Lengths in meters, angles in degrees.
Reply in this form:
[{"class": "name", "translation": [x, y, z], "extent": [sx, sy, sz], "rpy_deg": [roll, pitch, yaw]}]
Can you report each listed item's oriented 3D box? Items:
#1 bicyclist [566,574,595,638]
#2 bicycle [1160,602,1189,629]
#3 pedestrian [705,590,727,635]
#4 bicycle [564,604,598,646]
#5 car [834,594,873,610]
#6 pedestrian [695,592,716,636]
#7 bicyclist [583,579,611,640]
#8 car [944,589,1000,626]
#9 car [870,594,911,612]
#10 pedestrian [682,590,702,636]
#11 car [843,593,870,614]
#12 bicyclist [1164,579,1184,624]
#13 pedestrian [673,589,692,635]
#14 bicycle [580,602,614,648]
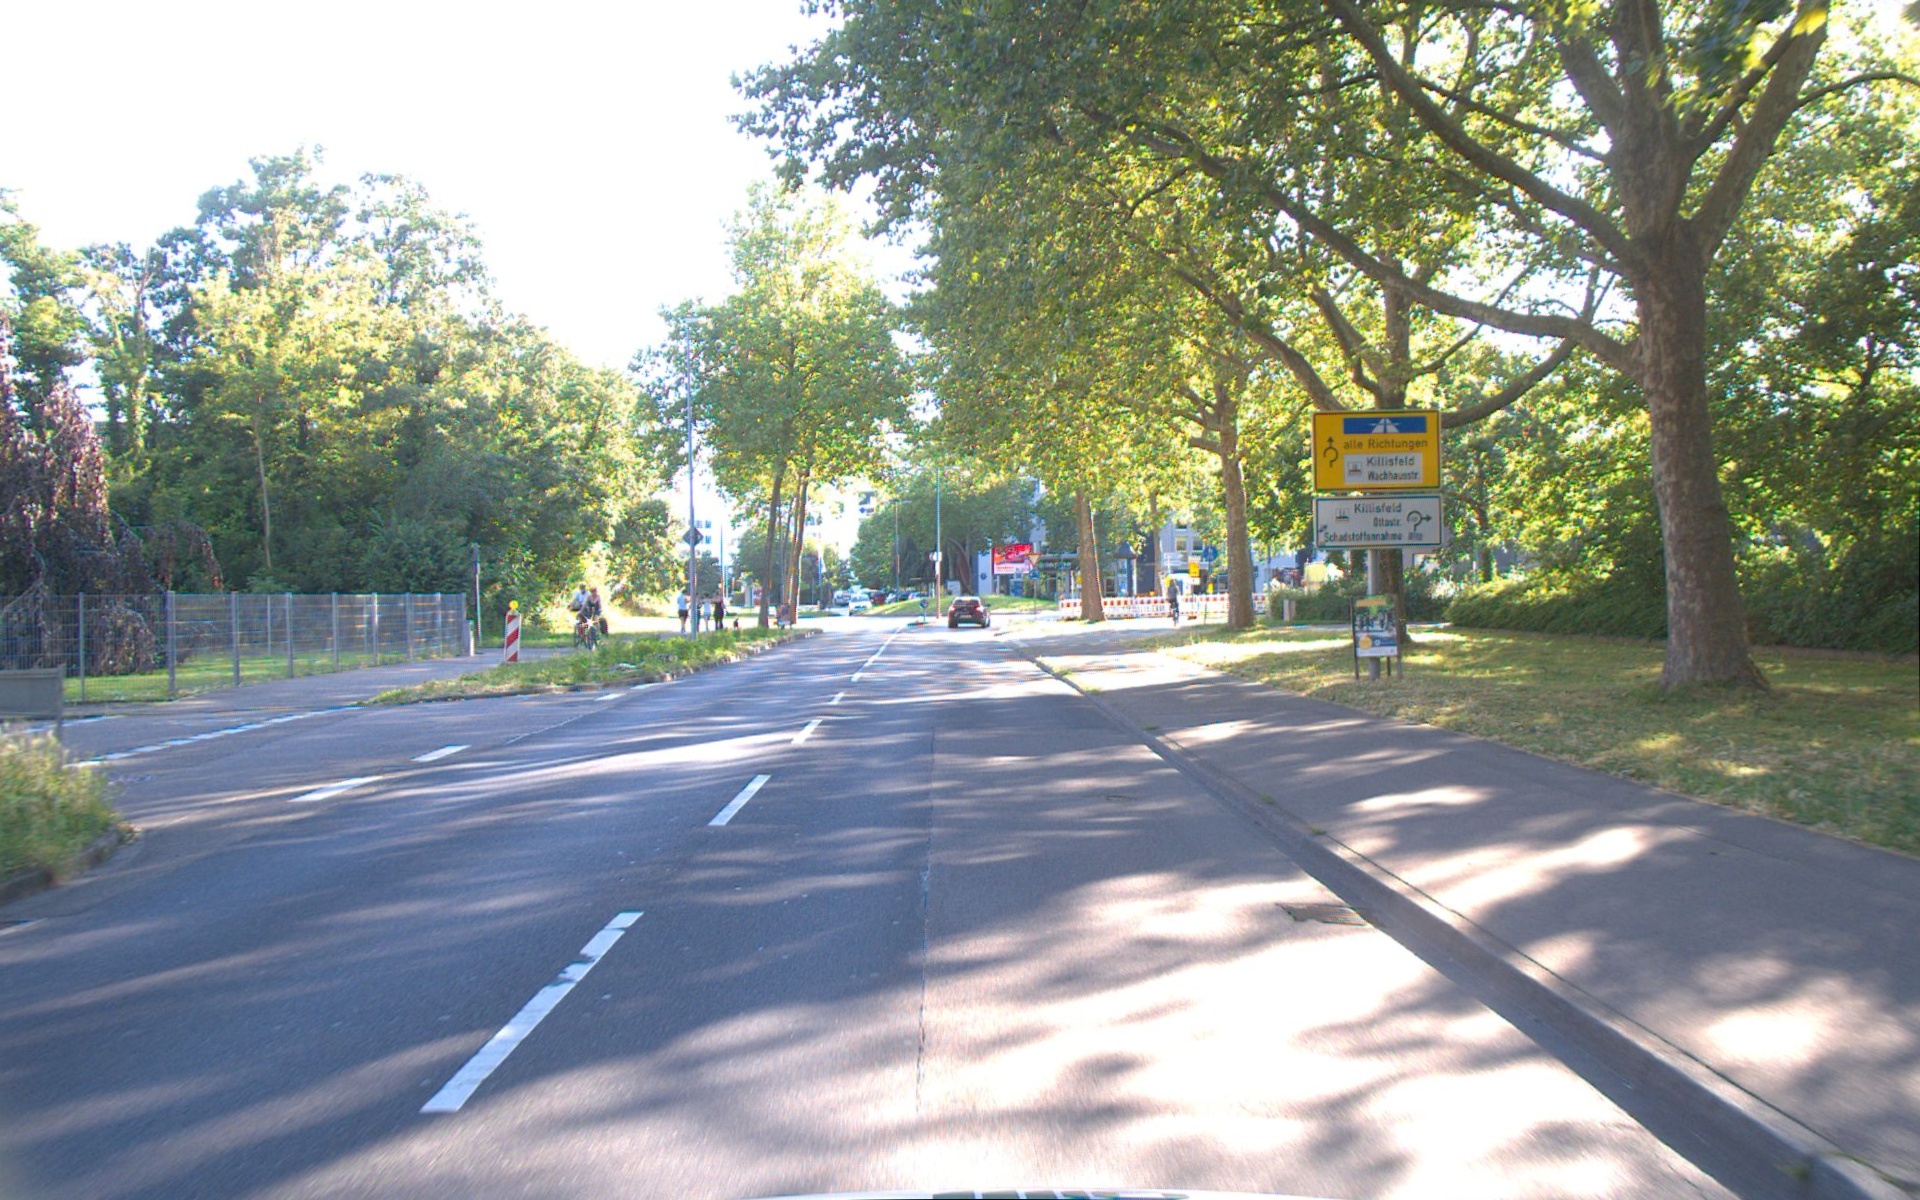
[{"class": "bicyclist", "translation": [-11.332, 0.186, 49.404], "extent": [0.567, 1.863, 0.968], "rpy_deg": [-3, 0, -2]}, {"class": "bicycle", "translation": [8.259, 0.608, 63.692], "extent": [0.754, 0.981, 2.174], "rpy_deg": [-2, -1, -1]}, {"class": "pedestrian", "translation": [-9.618, 0.498, 65.187], "extent": [0.733, 1.769, 0.852], "rpy_deg": [-1, 0, 1]}, {"class": "bicycle", "translation": [-11.306, 0.736, 49.395], "extent": [0.567, 1.207, 2.031], "rpy_deg": [-3, 0, -2]}, {"class": "car", "translation": [-11.840, 0.226, 184.324], "extent": [3.946, 1.777, 1.777], "rpy_deg": [1, 0, -31]}, {"class": "pedestrian", "translation": [-9.814, 0.532, 63.775], "extent": [0.628, 1.666, 0.569], "rpy_deg": [0, 0, -38]}, {"class": "bicyclist", "translation": [-10.428, 0.268, 47.562], "extent": [0.567, 1.709, 0.970], "rpy_deg": [-1, 0, -2]}, {"class": "car", "translation": [0.583, 0.333, 77.327], "extent": [1.800, 1.633, 3.866], "rpy_deg": [-1, 0, 13]}, {"class": "car", "translation": [-7.341, 0.330, 174.080], "extent": [3.946, 1.777, 1.777], "rpy_deg": [1, 0, -31]}, {"class": "pedestrian", "translation": [-10.554, 0.513, 65.081], "extent": [0.651, 1.769, 0.751], "rpy_deg": [-1, 0, 1]}, {"class": "car", "translation": [-8.188, 0.303, 130.109], "extent": [1.955, 1.606, 3.995], "rpy_deg": [-1, 0, -6]}, {"class": "bicyclist", "translation": [8.257, 0.048, 63.961], "extent": [0.637, 1.735, 0.871], "rpy_deg": [1, 0, 0]}, {"class": "pedestrian", "translation": [-10.716, 0.464, 63.903], "extent": [0.619, 1.769, 0.664], "rpy_deg": [-1, 0, 1]}, {"class": "bicycle", "translation": [-10.421, 0.704, 47.536], "extent": [0.567, 1.267, 2.107], "rpy_deg": [-1, 0, -2]}]
